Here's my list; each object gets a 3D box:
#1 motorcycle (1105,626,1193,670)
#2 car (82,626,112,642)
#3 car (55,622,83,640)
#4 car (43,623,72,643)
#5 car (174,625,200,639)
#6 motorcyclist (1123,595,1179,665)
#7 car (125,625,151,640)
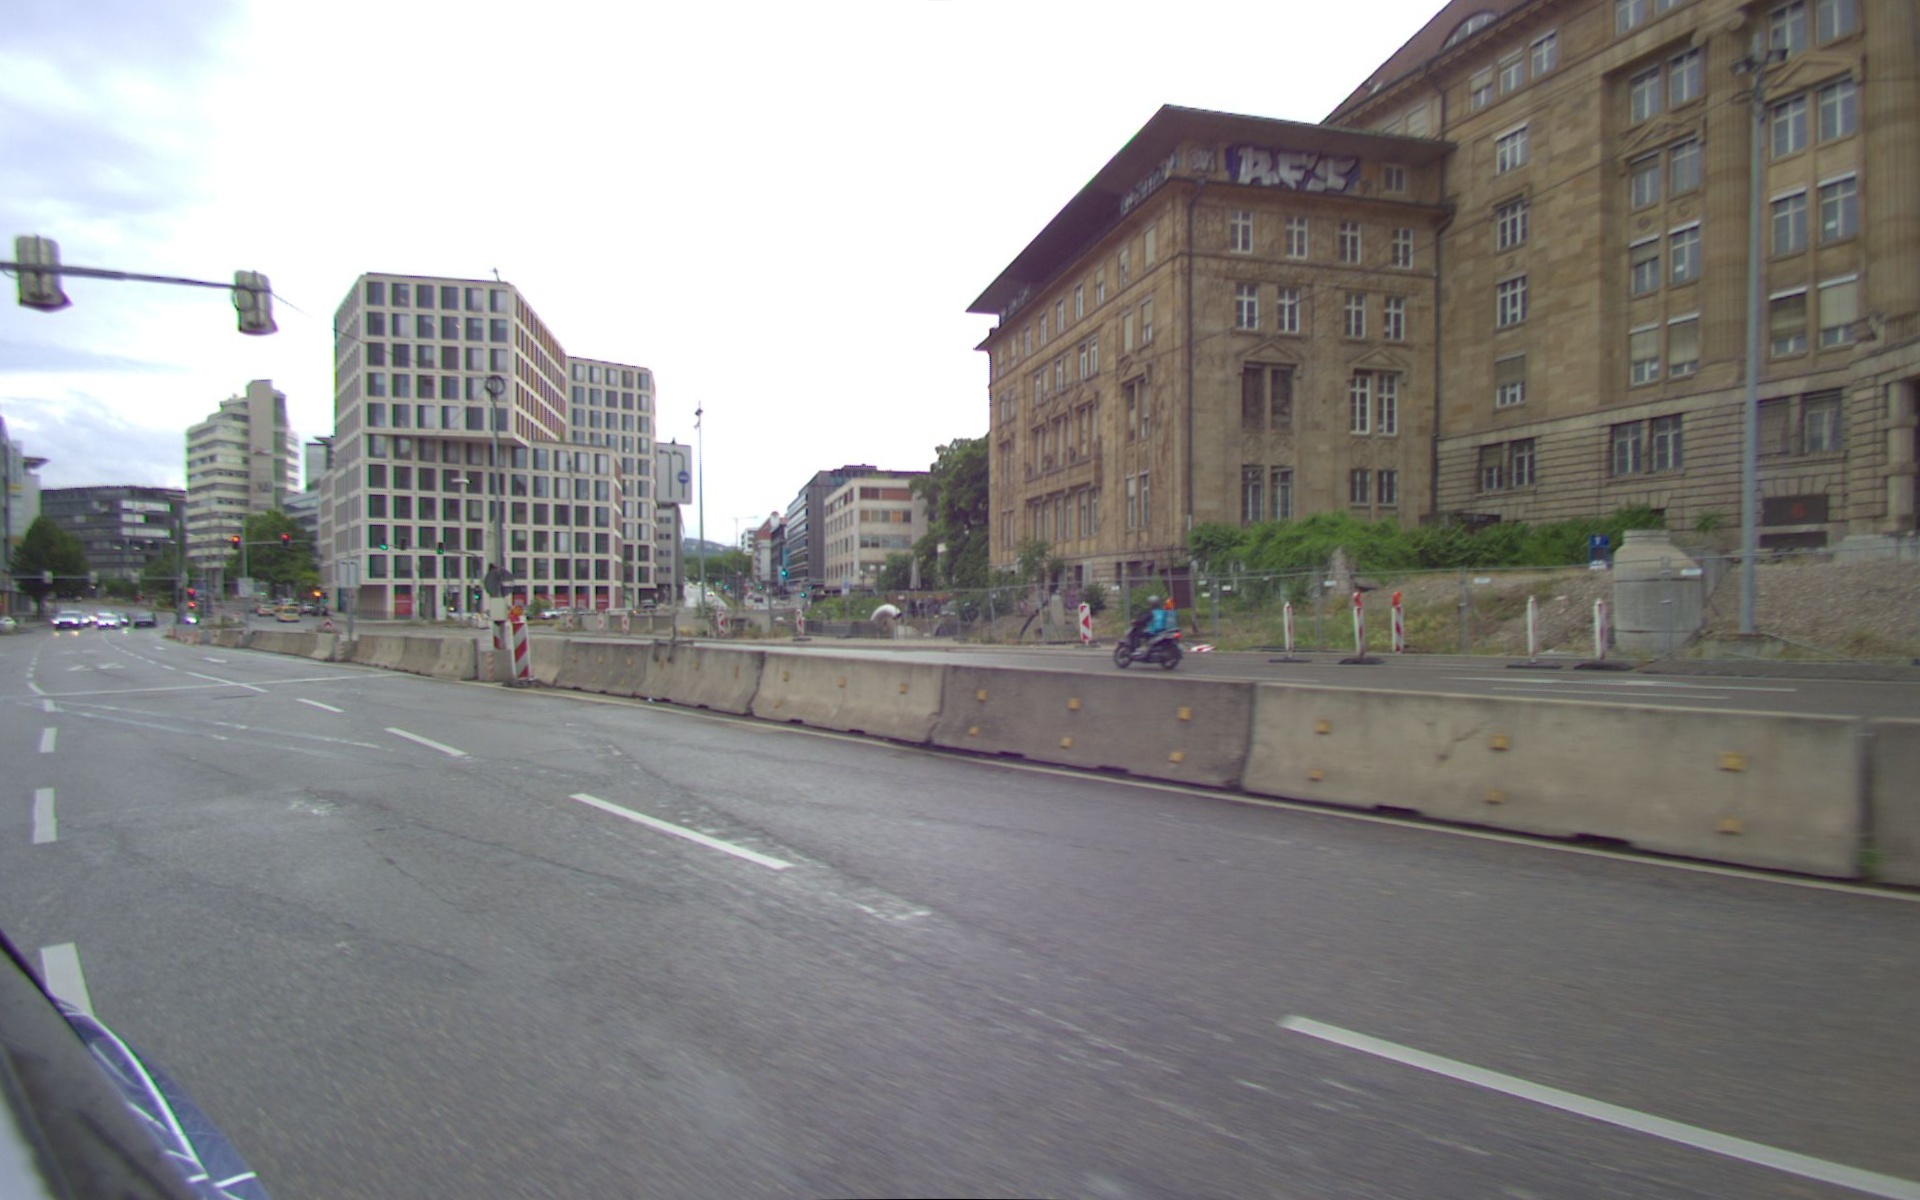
[{"bbox_3d":[4.146,1.044,22.317,1.823,0.899,0.694,-1,0,44],"label":"motorcycle"},{"bbox_3d":[-89.040,3.477,104.395,4.002,1.464,1.971,-1,0,45],"label":"car"},{"bbox_3d":[-97.044,3.354,110.224,4.002,1.863,1.971,-1,0,45],"label":"car"},{"bbox_3d":[-92.039,3.350,103.212,4.002,1.838,1.971,-1,0,45],"label":"car"},{"bbox_3d":[-83.565,3.433,109.395,3.674,1.464,1.767,-1,0,45],"label":"car"},{"bbox_3d":[4.199,0.639,22.253,0.963,1.498,0.694,-1,0,44],"label":"motorcyclist"},{"bbox_3d":[-86.431,3.443,106.391,3.797,1.464,1.685,-1,0,45],"label":"car"}]
